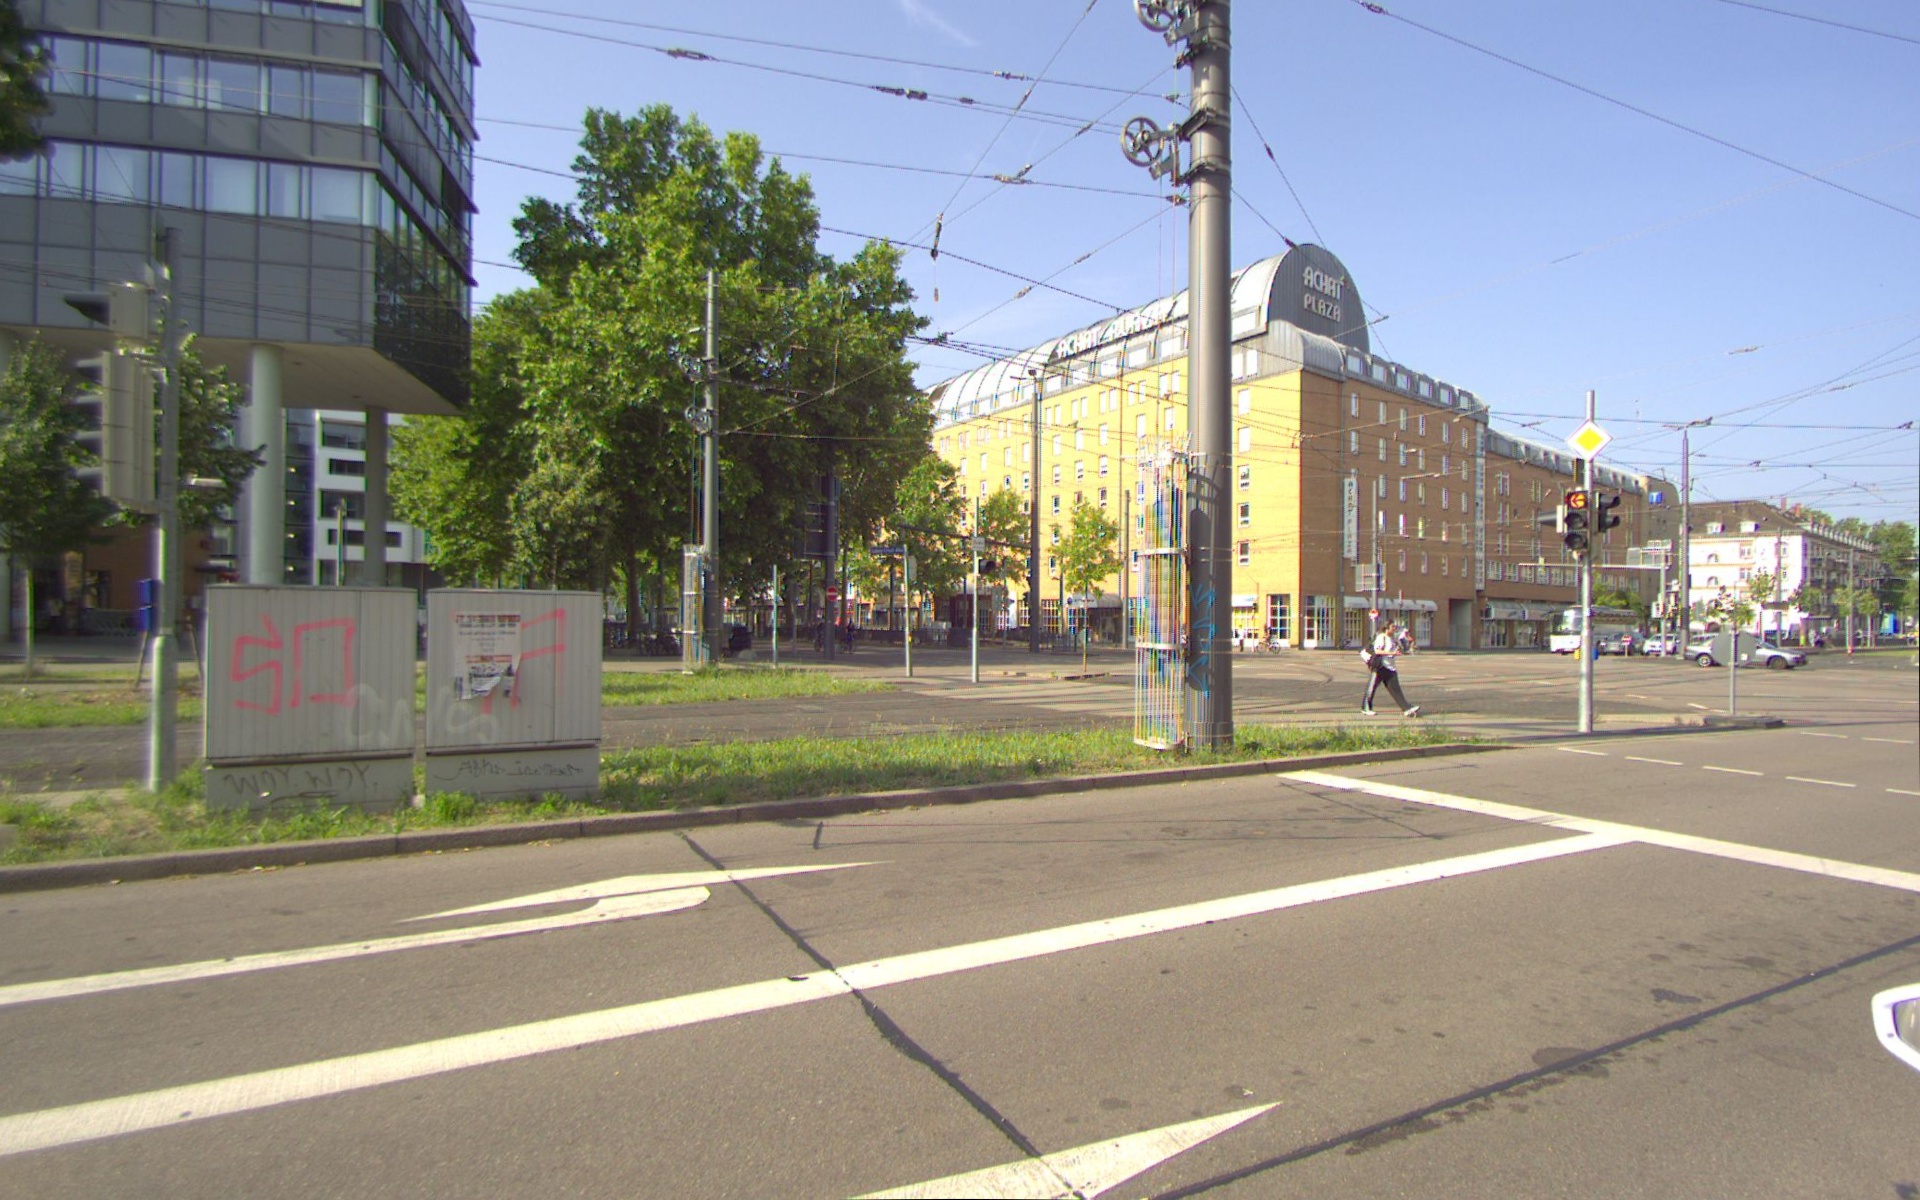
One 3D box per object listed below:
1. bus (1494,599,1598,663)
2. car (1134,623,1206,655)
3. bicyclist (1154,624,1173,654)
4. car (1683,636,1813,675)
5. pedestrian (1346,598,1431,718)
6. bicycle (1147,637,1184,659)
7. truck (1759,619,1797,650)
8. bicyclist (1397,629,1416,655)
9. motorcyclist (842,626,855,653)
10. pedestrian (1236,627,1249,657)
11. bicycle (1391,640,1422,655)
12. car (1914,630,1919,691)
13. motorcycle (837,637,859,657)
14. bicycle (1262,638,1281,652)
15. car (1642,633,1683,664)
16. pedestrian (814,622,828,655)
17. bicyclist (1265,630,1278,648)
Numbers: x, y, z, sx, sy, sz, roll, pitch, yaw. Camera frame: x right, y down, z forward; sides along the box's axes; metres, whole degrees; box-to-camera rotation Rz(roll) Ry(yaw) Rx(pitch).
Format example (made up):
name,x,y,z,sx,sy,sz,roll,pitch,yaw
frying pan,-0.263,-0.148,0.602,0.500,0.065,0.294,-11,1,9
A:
name,x,y,z,sx,sy,sz,roll,pitch,yaw
bus,40.964,2.261,69.892,12.129,3.972,2.721,4,-3,-42
car,13.919,2.547,66.806,1.981,2.040,4.568,1,-1,-37
bicyclist,12.483,2.386,61.600,0.952,1.769,0.664,2,-2,-18
car,34.435,2.412,43.977,1.984,1.506,4.172,4,-3,-40
pedestrian,7.560,1.003,17.727,1.143,2.040,0.771,0,-3,45
bicycle,12.620,2.948,61.633,2.251,1.222,0.548,3,-2,-18
truck,74.366,3.135,91.316,4.705,2.632,1.976,4,-3,-41
bicyclist,30.414,2.872,68.436,0.666,1.718,0.977,3,-2,-44
motorcyclist,-5.734,2.029,51.654,0.414,1.339,0.527,3,-2,-36
pedestrian,19.292,2.869,68.574,0.735,1.978,0.883,0,-1,23
bicycle,30.416,3.239,68.411,0.417,0.982,1.941,3,-3,-44
car,27.156,1.609,25.250,1.955,1.657,4.411,2,-2,-6
motorcycle,-5.772,2.412,51.677,0.281,1.008,1.678,3,-2,-36
bicycle,20.486,2.962,66.047,1.382,0.883,0.344,3,-2,-31
car,47.058,3.251,67.266,2.708,2.040,1.588,4,-3,-40
pedestrian,-7.484,2.075,54.229,0.504,1.748,0.527,3,-2,-36
bicyclist,20.503,2.542,66.068,0.603,1.144,0.519,3,-3,-31
